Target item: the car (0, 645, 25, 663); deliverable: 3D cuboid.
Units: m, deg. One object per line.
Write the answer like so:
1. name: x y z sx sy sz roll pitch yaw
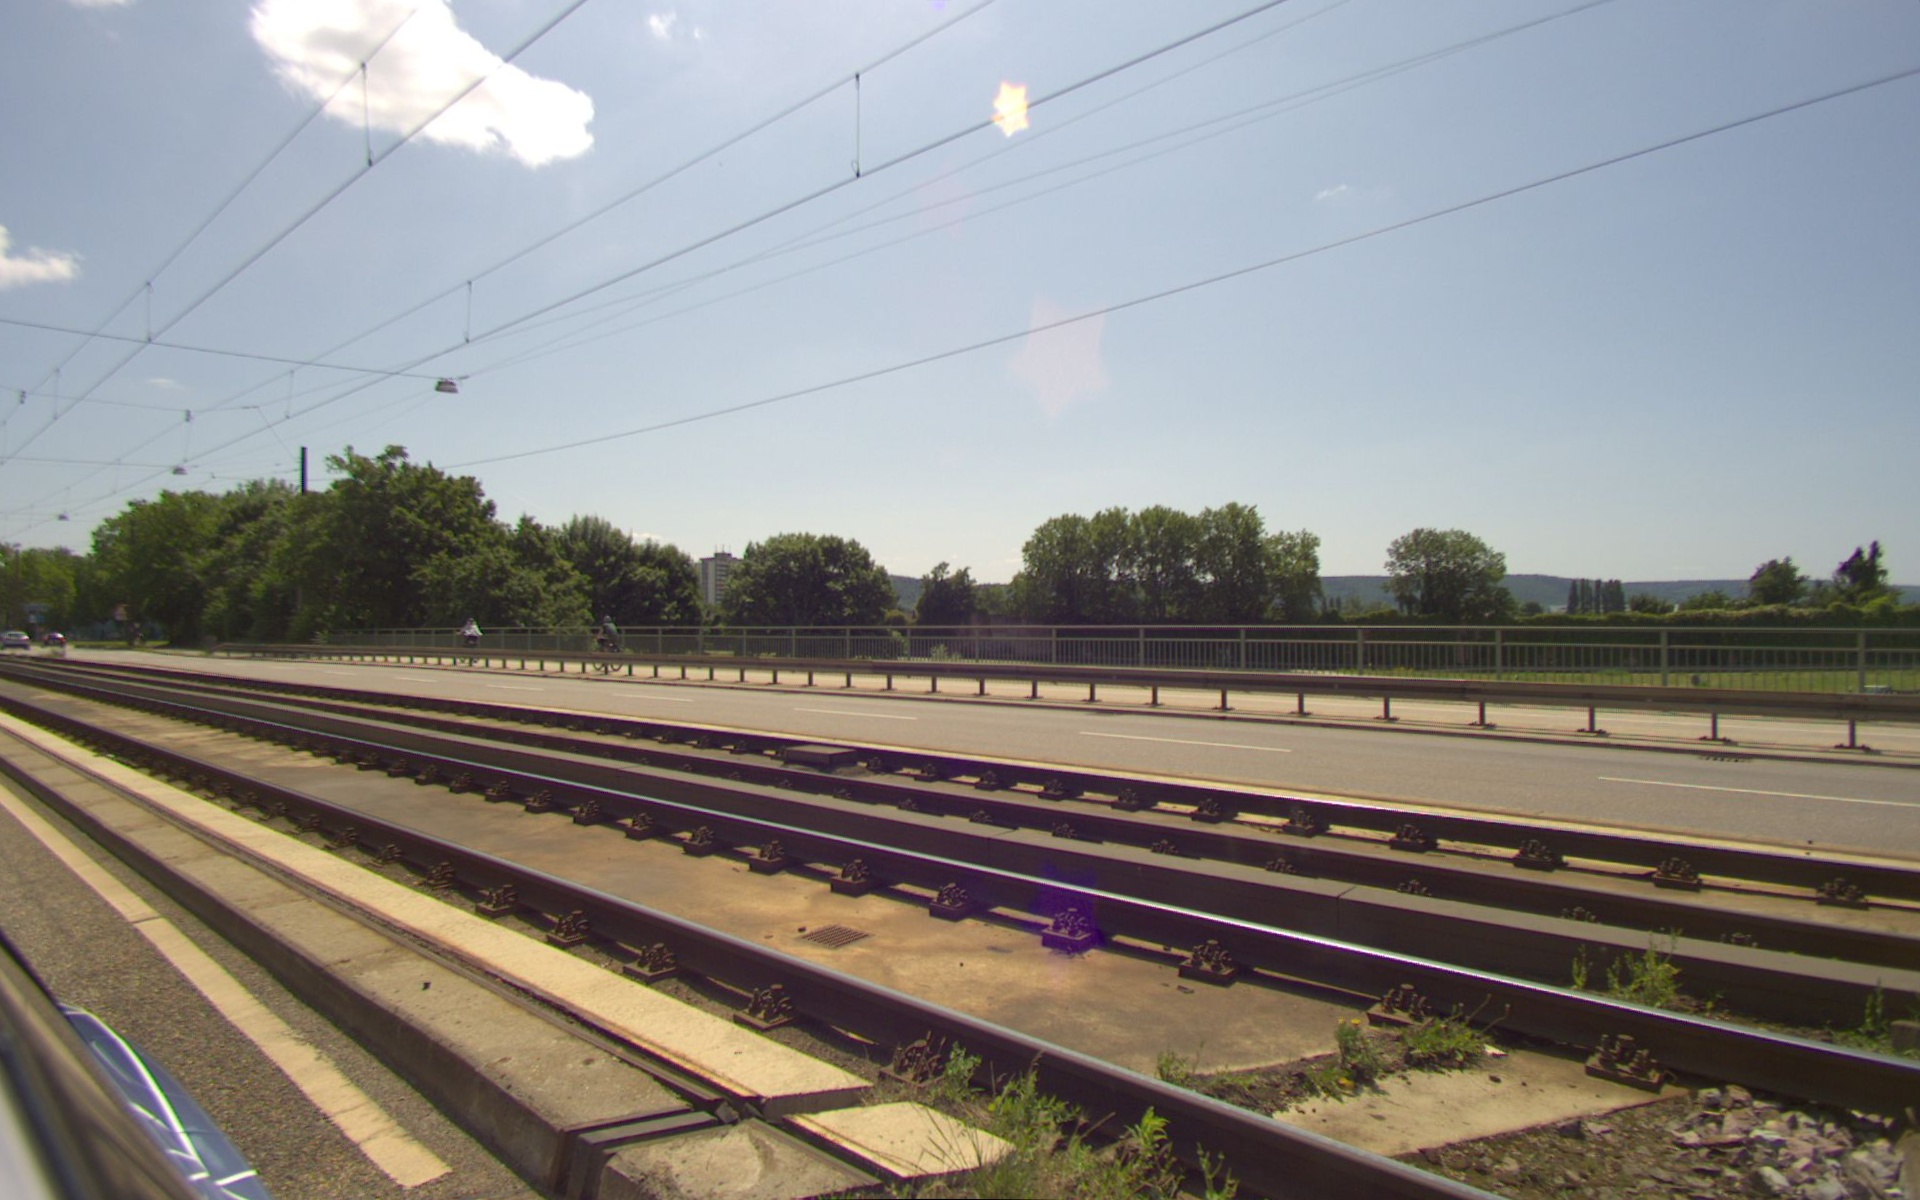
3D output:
1. car: -78.585 4.414 83.453 4.622 1.431 1.693 -2 -3 41

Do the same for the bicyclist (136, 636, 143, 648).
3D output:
1. bicyclist: -92.584 4.728 114.222 0.562 1.378 0.632 0 -1 -45

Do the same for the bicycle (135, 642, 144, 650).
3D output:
1. bicycle: -92.564 5.184 114.201 0.579 0.825 2.070 -1 0 -44

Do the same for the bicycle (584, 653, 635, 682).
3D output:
1. bicycle: -11.046 2.111 31.851 2.034 0.849 0.517 -2 -1 40

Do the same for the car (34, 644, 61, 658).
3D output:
1. car: -90.990 5.082 100.899 3.927 1.357 1.547 -2 -3 41

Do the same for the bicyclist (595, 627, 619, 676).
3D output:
1. bicyclist: -11.148 1.613 31.937 0.529 1.509 0.515 -3 -2 40

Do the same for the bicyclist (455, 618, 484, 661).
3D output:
1. bicyclist: -19.020 1.515 39.243 0.837 1.634 0.755 -2 -2 40

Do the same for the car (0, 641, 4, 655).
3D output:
1. car: -99.713 4.924 104.116 3.935 1.411 1.558 -2 -3 41

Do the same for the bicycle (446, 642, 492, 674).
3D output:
1. bicycle: -19.065 2.225 39.288 2.060 1.194 0.848 -2 -1 40
